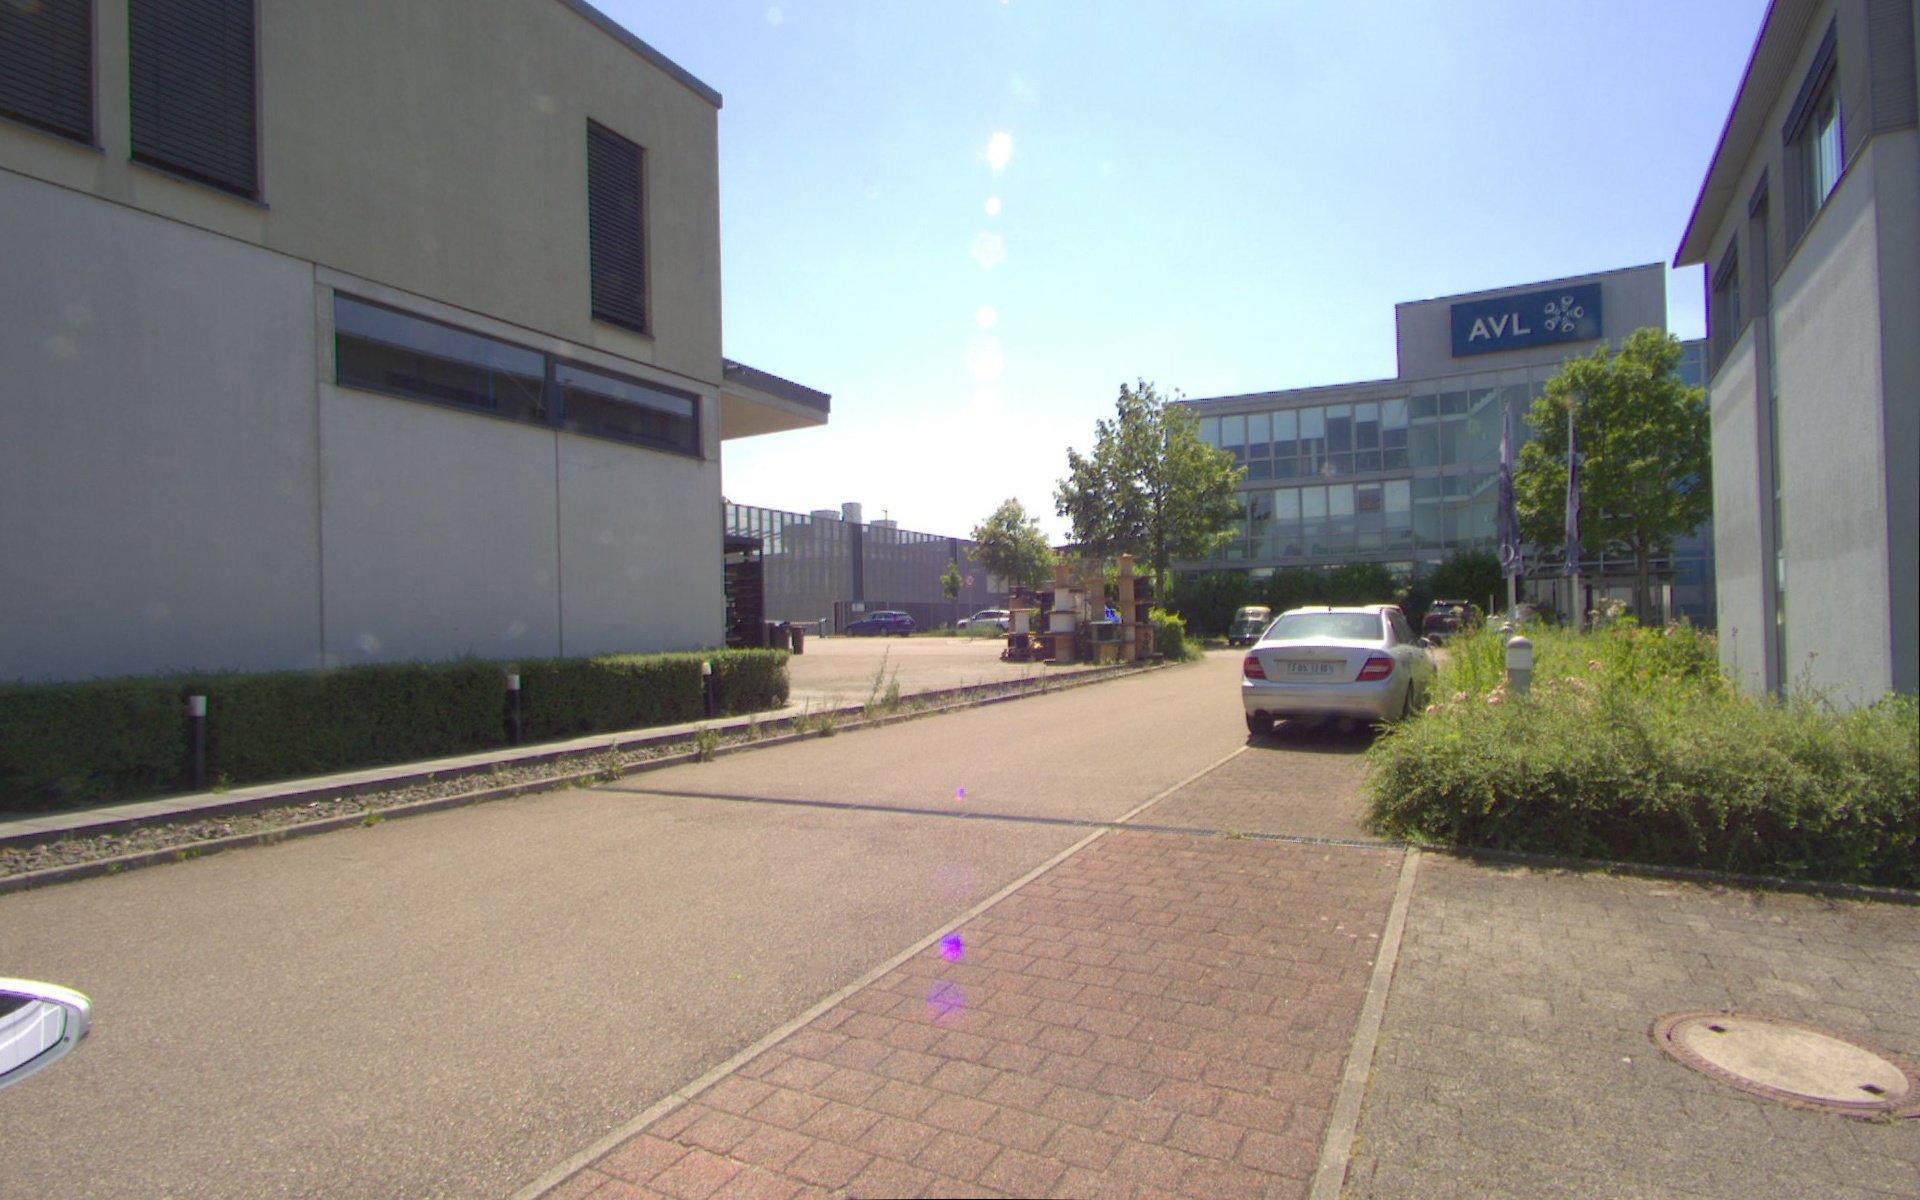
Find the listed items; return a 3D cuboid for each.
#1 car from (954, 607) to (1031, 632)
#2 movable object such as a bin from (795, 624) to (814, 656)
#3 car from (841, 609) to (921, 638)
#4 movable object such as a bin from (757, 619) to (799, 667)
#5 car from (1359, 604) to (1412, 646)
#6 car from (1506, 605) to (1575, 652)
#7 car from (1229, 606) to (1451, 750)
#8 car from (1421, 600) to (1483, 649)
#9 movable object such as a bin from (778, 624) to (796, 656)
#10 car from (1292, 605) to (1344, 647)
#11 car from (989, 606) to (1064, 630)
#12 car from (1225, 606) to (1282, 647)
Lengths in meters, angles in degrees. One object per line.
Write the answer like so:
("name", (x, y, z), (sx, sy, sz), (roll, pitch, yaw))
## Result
("car", (2.067, 1.245, 64.213), (4.801, 1.511, 1.983), (-1, 0, 42))
("movable object such as a bin", (-5.228, 1.342, 33.715), (0.567, 1.050, 0.425), (-1, 0, -5))
("car", (-4.494, 1.303, 56.714), (4.465, 1.511, 1.983), (-1, 0, 42))
("movable object such as a bin", (-5.224, 1.226, 28.735), (0.802, 1.362, 0.879), (-1, -1, 34))
("car", (15.878, 0.883, 37.463), (1.741, 1.468, 3.644), (0, 0, 22))
("car", (20.129, 0.957, 34.847), (1.747, 1.501, 4.242), (-2, 0, 26))
("car", (4.792, 0.824, 12.218), (1.779, 1.416, 4.398), (-1, -1, 31))
("car", (17.681, 0.839, 35.987), (1.902, 1.632, 3.971), (0, 0, 26))
("movable object such as a bin", (-5.812, 1.347, 33.667), (0.570, 1.041, 0.425), (-1, 0, -5))
("car", (13.565, 0.938, 37.877), (1.708, 1.468, 3.644), (0, 0, 22))
("car", (4.352, 1.201, 66.230), (4.801, 1.511, 1.983), (-1, 0, 42))
("car", (11.349, 0.968, 38.589), (1.522, 1.468, 3.641), (0, 0, 26))
